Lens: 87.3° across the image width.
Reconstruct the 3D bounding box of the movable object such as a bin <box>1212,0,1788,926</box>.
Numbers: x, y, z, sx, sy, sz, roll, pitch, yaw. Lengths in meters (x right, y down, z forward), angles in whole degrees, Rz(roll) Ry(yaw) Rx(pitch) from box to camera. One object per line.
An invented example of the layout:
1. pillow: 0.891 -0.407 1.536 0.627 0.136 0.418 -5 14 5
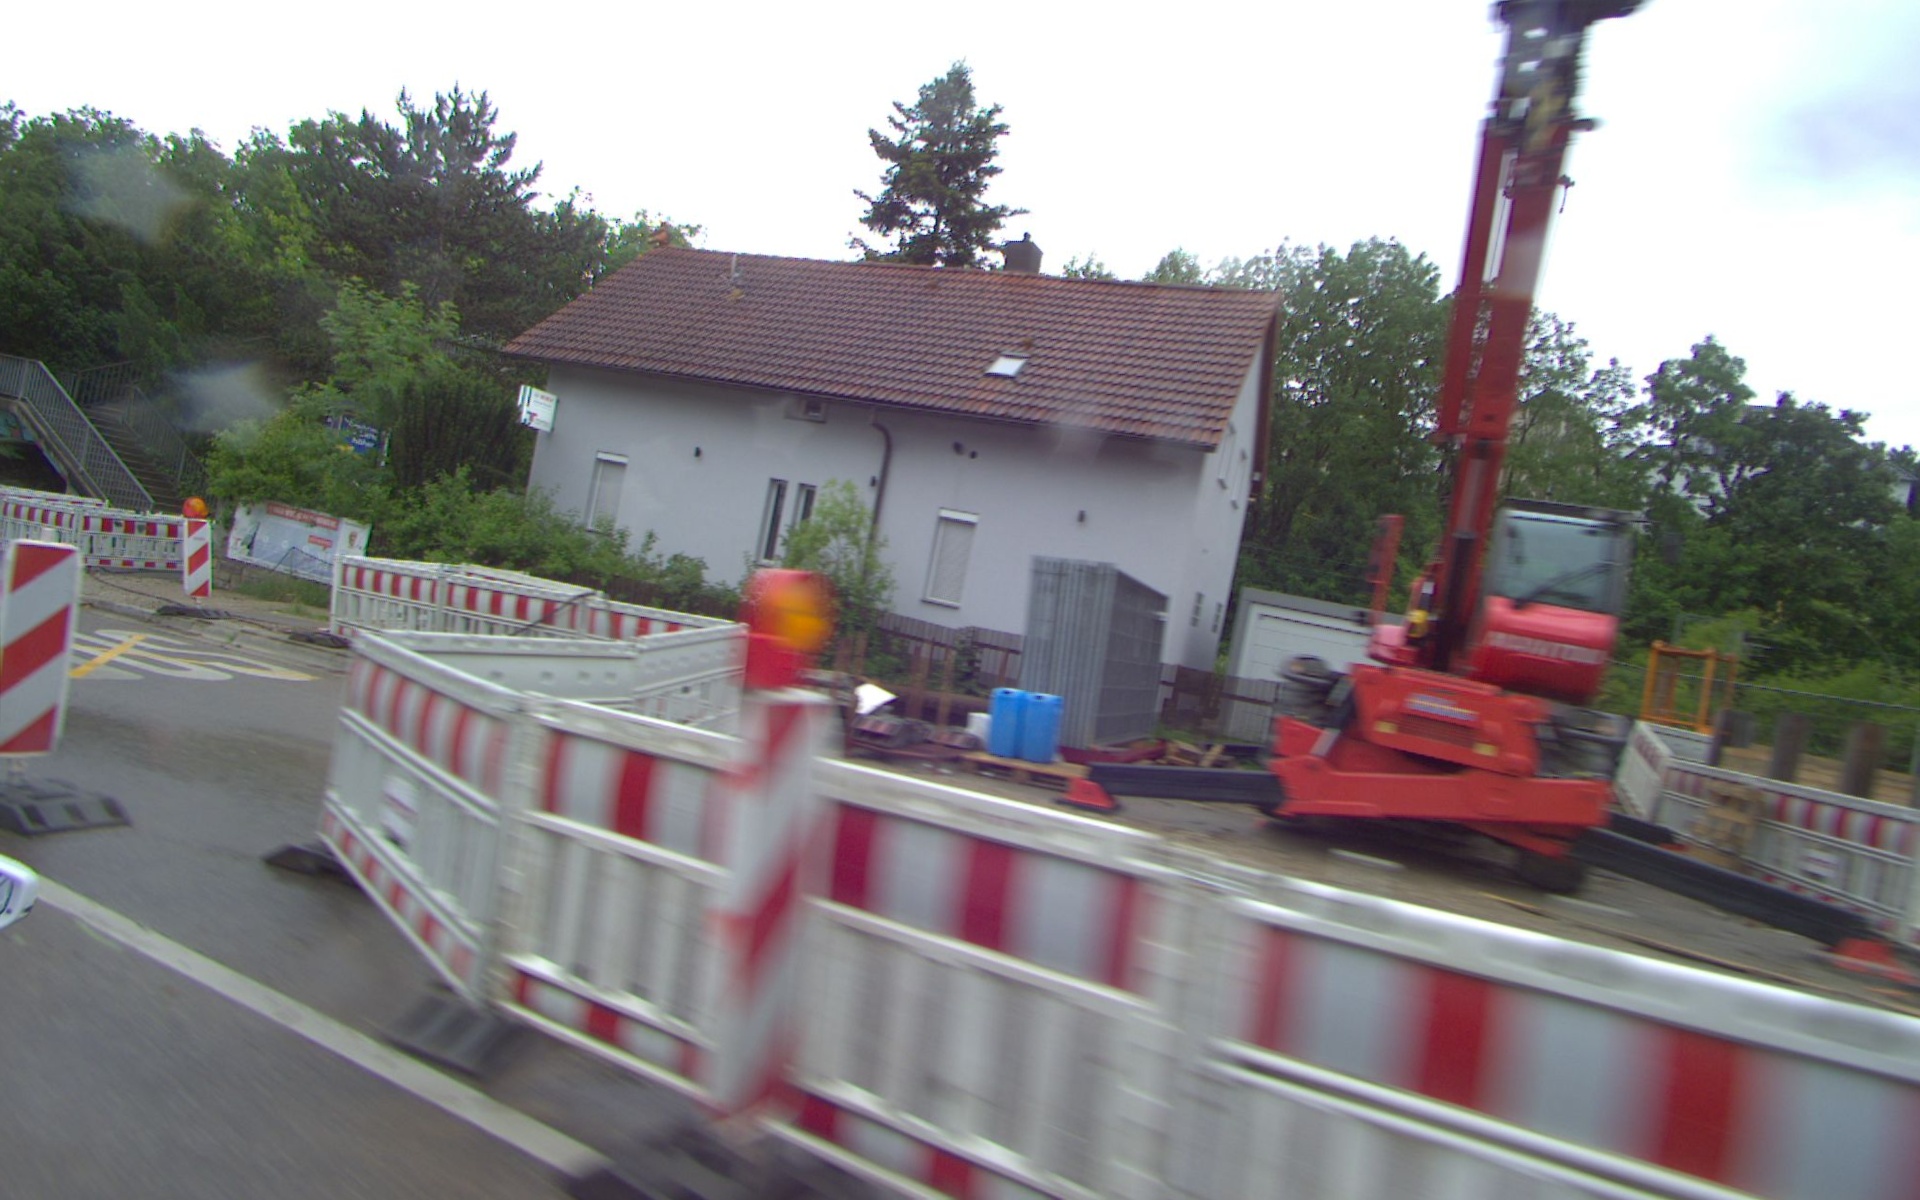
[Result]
1. movable object such as a bin: 5.095 -1.077 10.385 2.990 6.766 6.975 7 -2 24
